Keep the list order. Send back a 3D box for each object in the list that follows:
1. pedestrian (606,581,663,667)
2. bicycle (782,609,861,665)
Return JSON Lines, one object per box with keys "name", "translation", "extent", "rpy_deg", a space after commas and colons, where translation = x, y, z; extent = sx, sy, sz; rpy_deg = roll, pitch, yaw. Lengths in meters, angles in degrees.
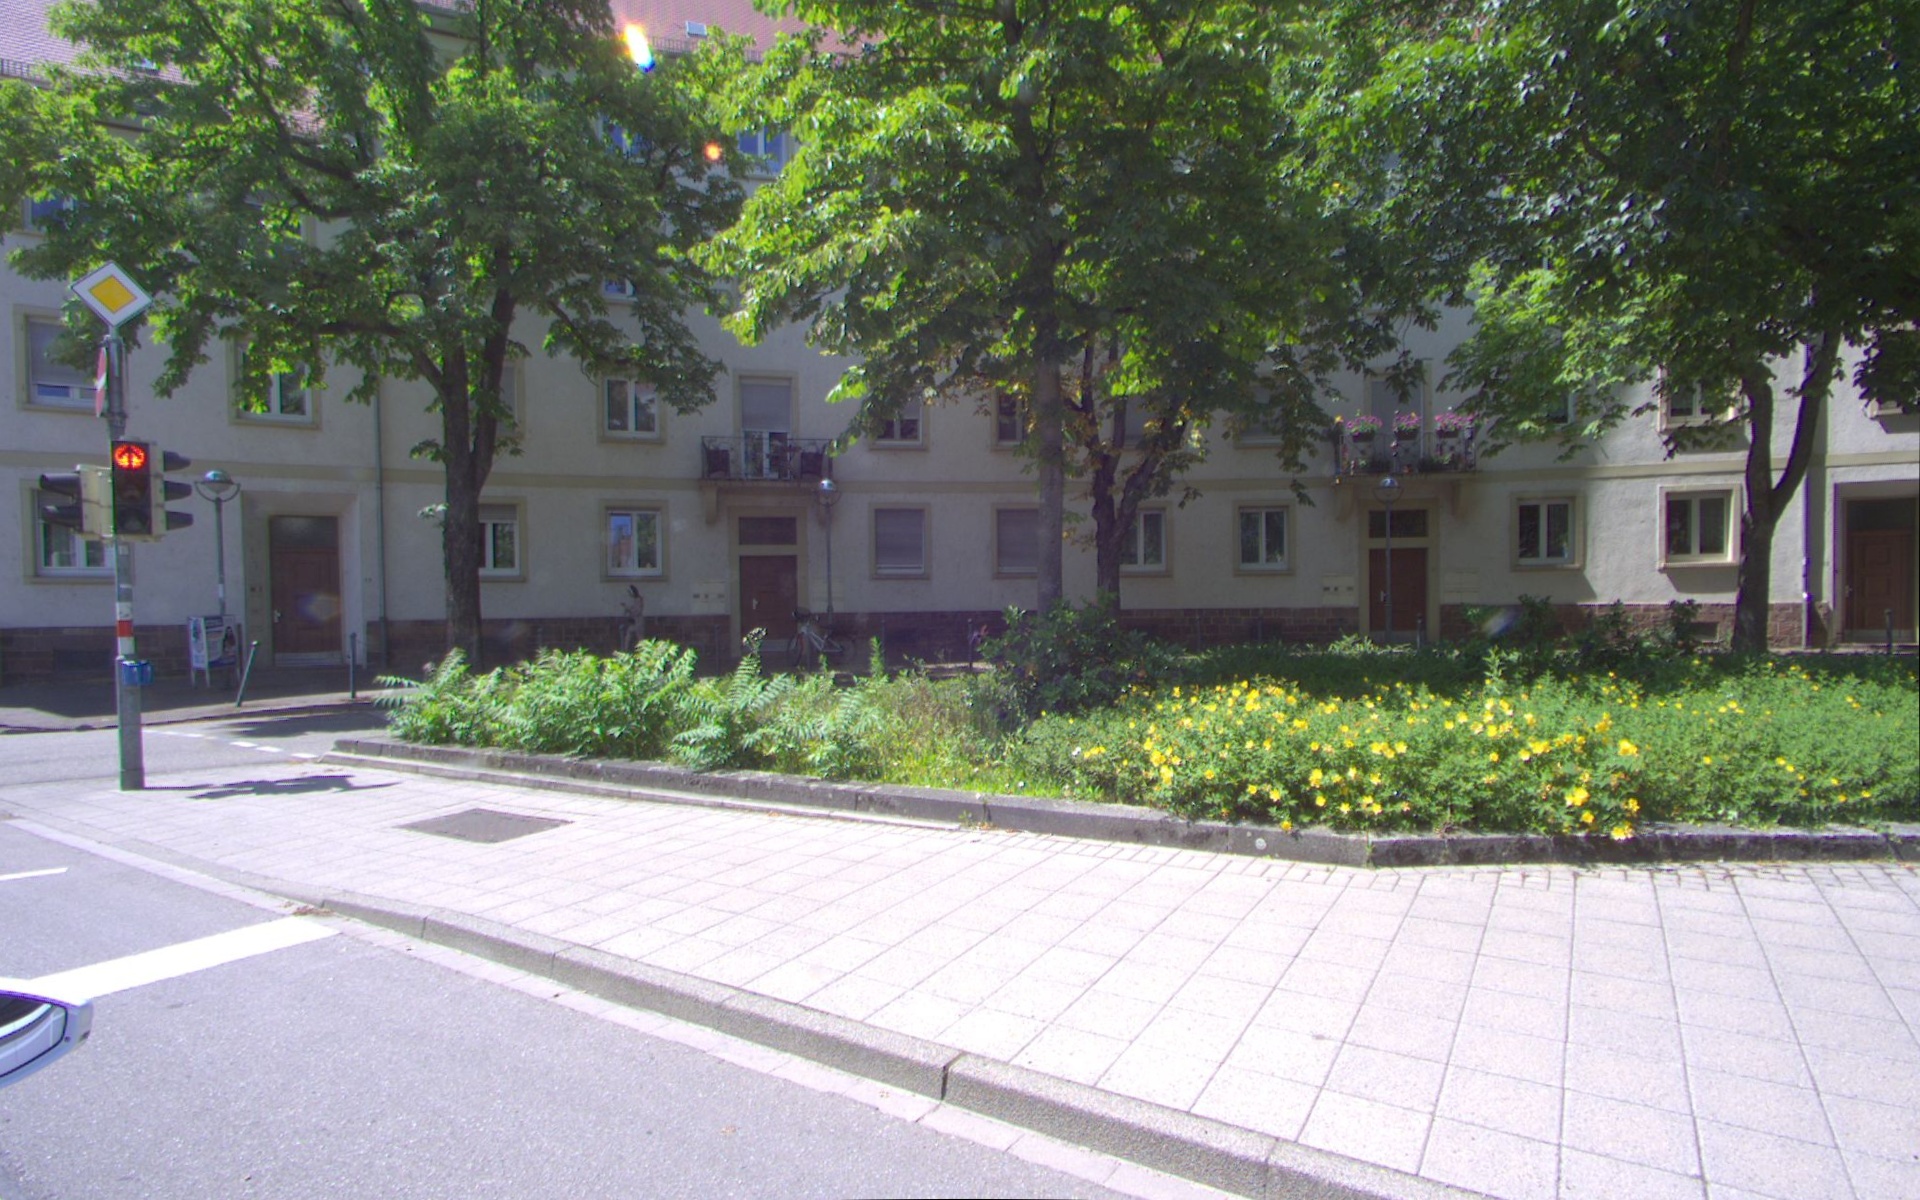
{"name": "pedestrian", "translation": [-6.995, 0.499, 21.508], "extent": [1.039, 1.715, 0.650], "rpy_deg": [-3, 7, -21]}
{"name": "bicycle", "translation": [-2.881, 0.758, 20.866], "extent": [1.575, 1.119, 0.525], "rpy_deg": [-1, 1, -4]}
